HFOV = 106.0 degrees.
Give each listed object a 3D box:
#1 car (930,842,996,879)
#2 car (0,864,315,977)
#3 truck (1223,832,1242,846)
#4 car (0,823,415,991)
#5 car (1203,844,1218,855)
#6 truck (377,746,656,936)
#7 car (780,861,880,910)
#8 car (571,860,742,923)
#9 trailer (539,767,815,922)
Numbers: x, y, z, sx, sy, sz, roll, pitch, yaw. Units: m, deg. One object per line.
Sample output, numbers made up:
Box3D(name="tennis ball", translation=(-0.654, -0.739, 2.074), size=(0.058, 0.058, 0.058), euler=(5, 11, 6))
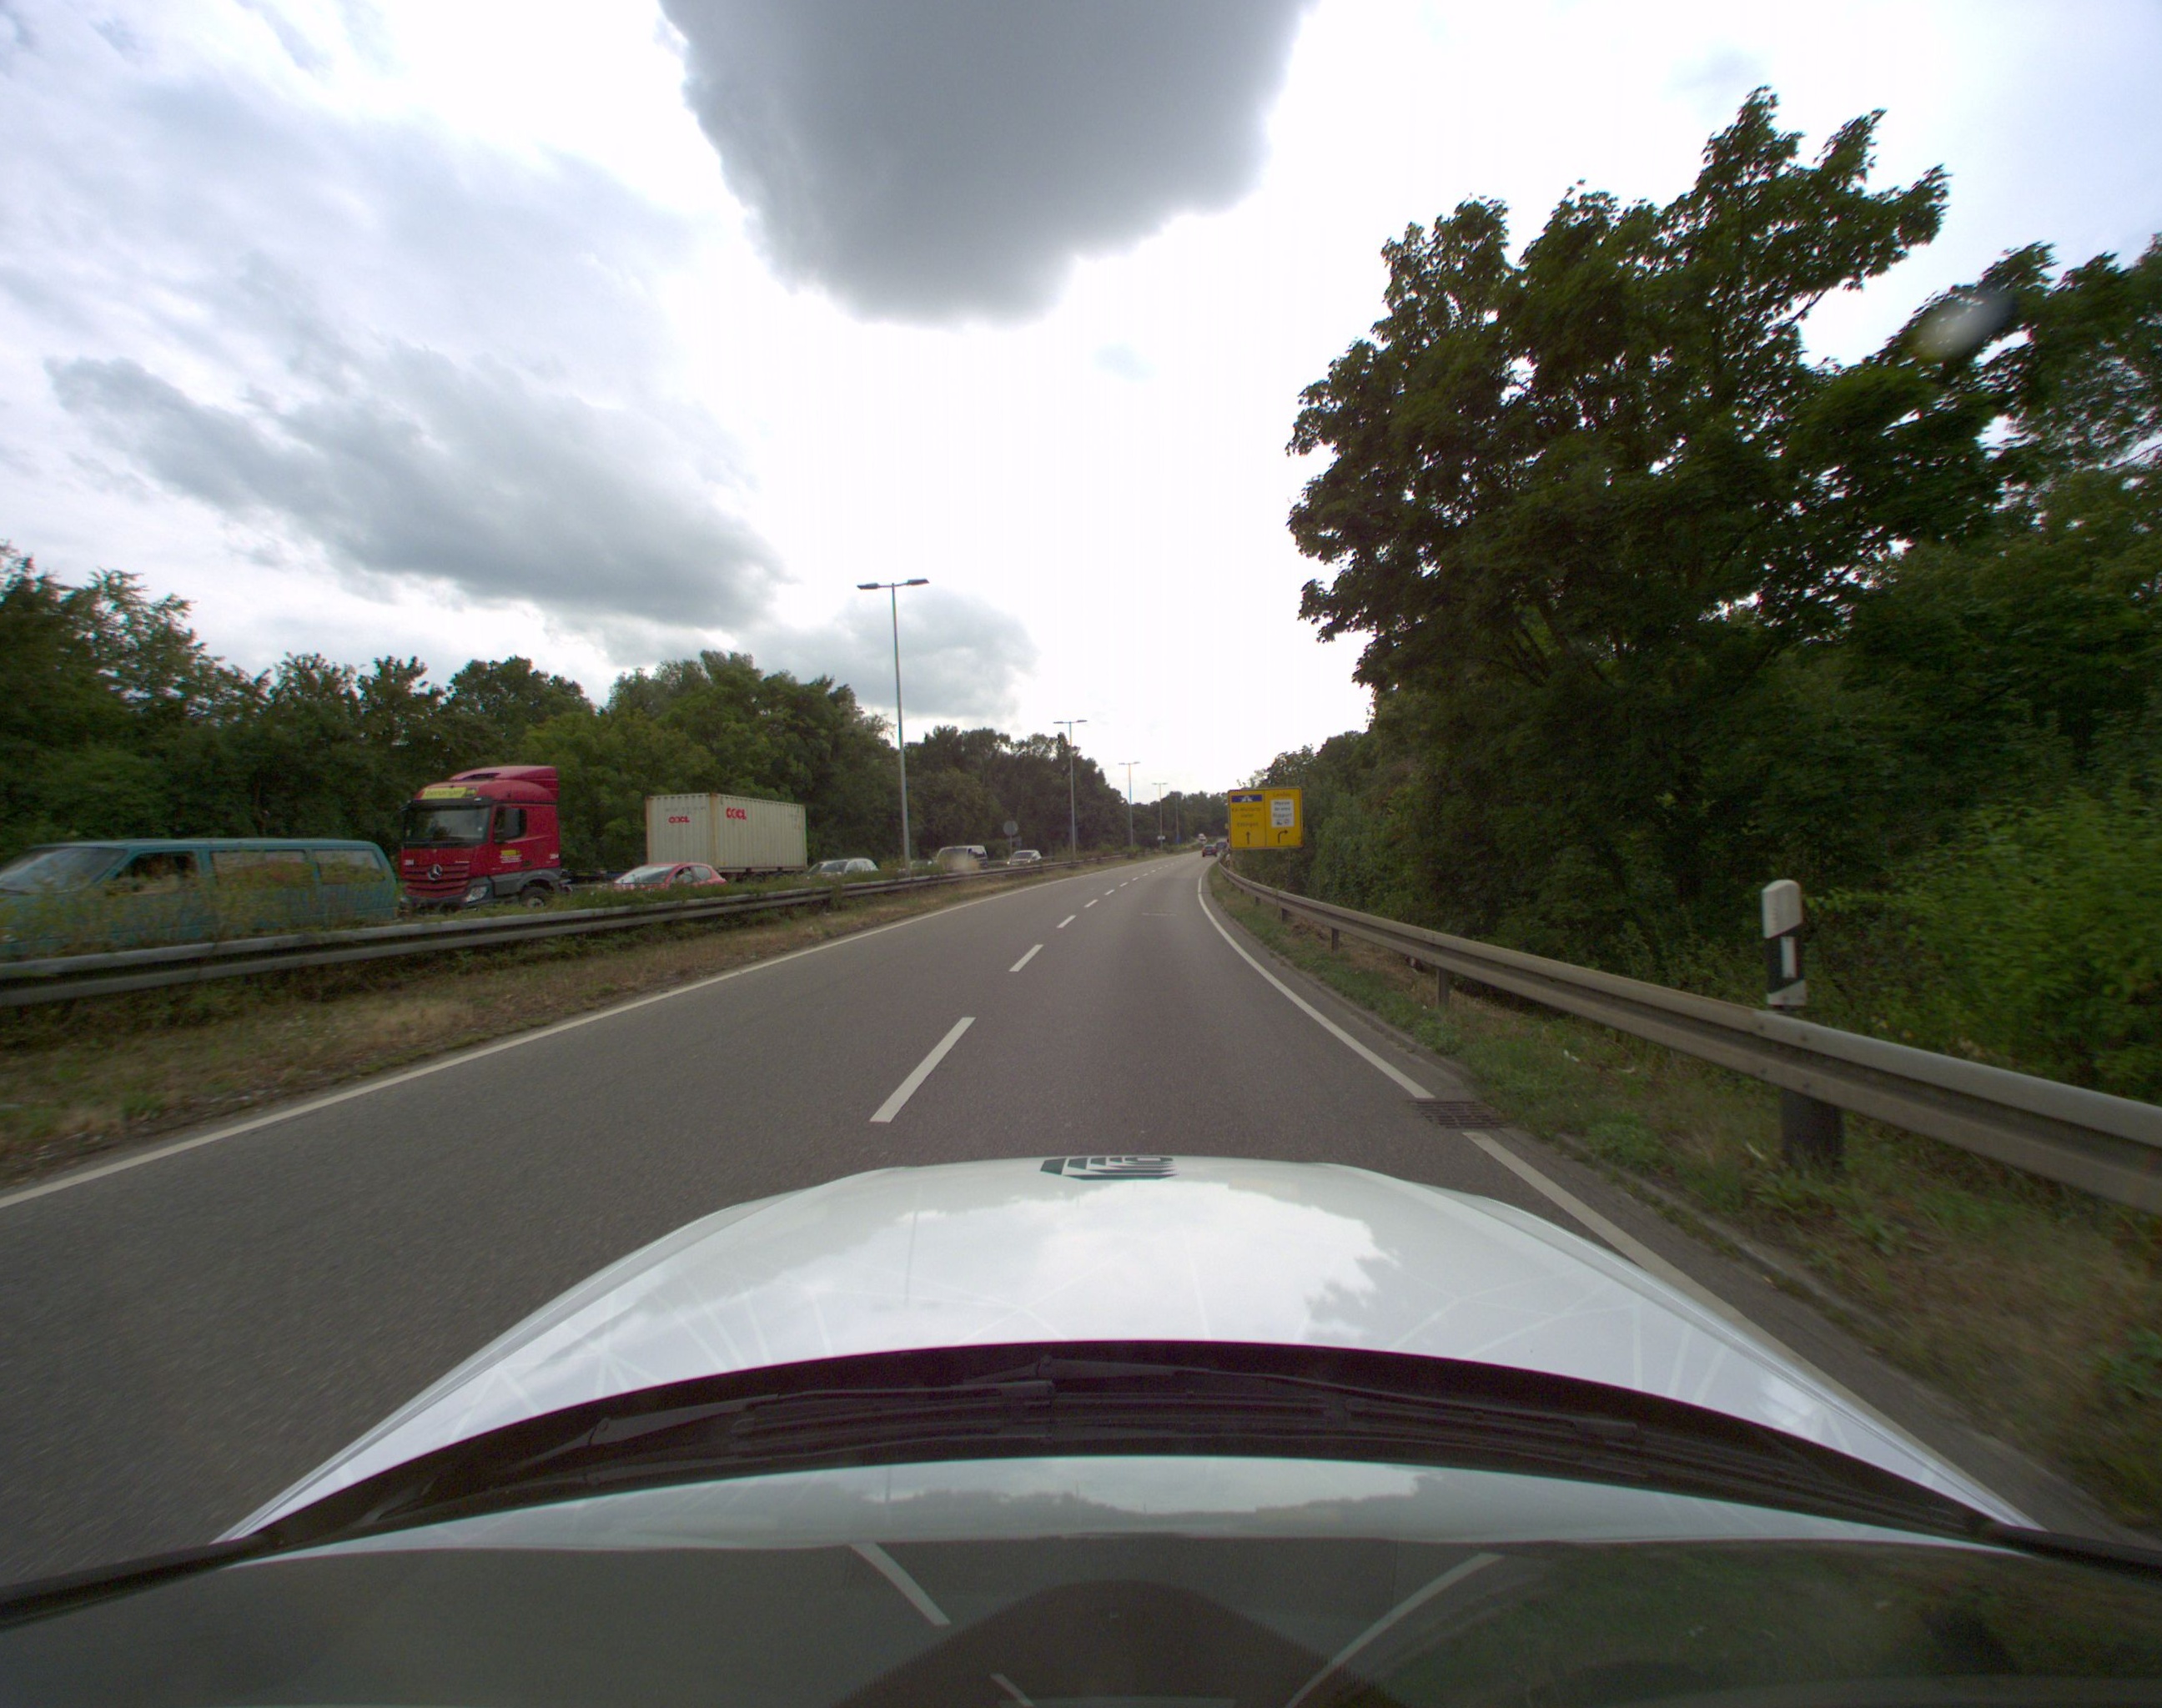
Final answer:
Box3D(name="car", translation=(-6.219, 0.350, 43.661), size=(1.998, 1.863, 5.291), euler=(-1, -1, 9))
Box3D(name="car", translation=(-14.871, 0.909, 12.605), size=(1.796, 1.466, 4.283), euler=(-1, -1, 4))
Box3D(name="truck", translation=(33.764, -3.403, 181.639), size=(2.956, 2.885, 8.029), euler=(-1, -1, 19))
Box3D(name="car", translation=(-11.811, 0.587, 10.629), size=(1.795, 1.729, 4.969), euler=(-1, -1, 6))
Box3D(name="car", translation=(16.475, -0.530, 103.569), size=(1.614, 1.377, 4.014), euler=(-1, -1, 13))
Box3D(name="truck", translation=(-13.802, -0.247, 20.544), size=(2.553, 4.083, 5.636), euler=(-1, -1, 9))
Box3D(name="car", translation=(-9.189, 1.114, 30.172), size=(1.830, 1.667, 4.345), euler=(-1, -1, 8))
Box3D(name="car", translation=(-10.679, 0.886, 20.873), size=(1.794, 1.432, 4.134), euler=(-1, -1, 7))
Box3D(name="trailer", translation=(-12.733, -0.213, 27.414), size=(2.520, 4.147, 10.797), euler=(-1, -1, 9))
